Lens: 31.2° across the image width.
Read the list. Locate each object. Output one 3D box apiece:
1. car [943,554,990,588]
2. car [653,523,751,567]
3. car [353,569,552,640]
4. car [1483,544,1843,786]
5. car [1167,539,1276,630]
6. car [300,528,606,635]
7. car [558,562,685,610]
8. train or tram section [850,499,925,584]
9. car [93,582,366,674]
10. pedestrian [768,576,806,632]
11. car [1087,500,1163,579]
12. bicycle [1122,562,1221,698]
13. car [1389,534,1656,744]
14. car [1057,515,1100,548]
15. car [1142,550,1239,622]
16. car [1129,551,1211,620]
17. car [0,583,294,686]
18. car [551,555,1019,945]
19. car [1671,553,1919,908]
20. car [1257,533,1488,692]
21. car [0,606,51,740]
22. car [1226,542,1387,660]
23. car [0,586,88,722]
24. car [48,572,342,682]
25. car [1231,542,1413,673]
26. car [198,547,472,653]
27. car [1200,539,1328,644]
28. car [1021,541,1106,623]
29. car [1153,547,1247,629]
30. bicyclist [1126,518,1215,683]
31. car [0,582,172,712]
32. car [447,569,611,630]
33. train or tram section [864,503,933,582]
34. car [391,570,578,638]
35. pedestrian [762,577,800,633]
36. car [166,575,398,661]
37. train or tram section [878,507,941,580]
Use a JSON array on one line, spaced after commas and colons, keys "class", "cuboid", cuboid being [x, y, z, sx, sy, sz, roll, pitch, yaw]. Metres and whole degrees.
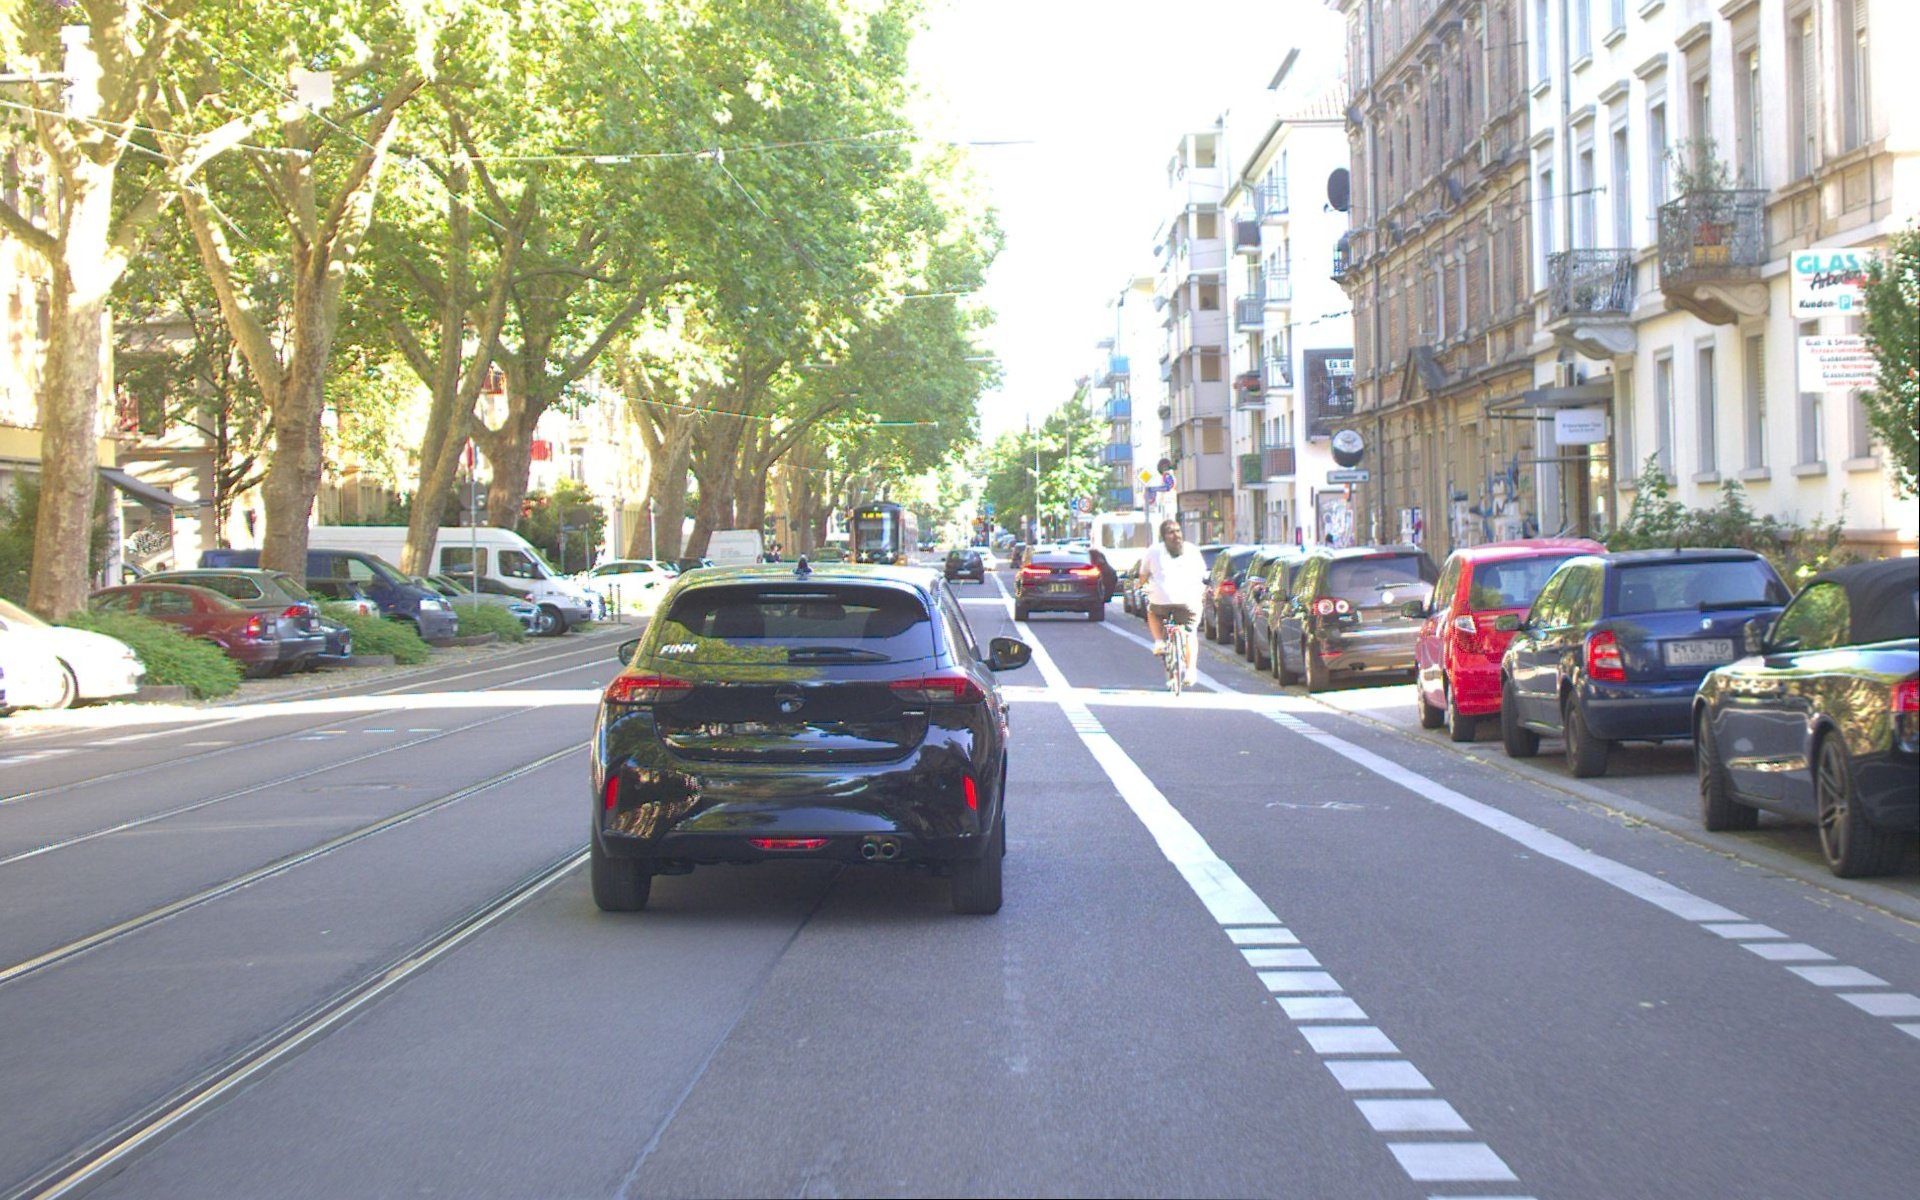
[{"class": "car", "cuboid": [0.282, -1.188, 141.338, 1.810, 1.334, 3.933, -1, 1, 2]}, {"class": "car", "cuboid": [-10.496, -2.235, 140.053, 3.919, 1.784, 1.677, 0, 0, -2]}, {"class": "car", "cuboid": [-10.735, 0.090, 72.873, 3.920, 1.493, 1.677, 0, 0, 2]}, {"class": "car", "cuboid": [4.724, 0.387, 23.601, 1.651, 1.451, 3.868, -3, 1, 1]}, {"class": "car", "cuboid": [4.813, -0.288, 63.512, 1.567, 1.512, 3.041, -5, 1, -2]}, {"class": "car", "cuboid": [-11.533, -0.435, 78.587, 6.628, 2.401, 2.458, 0, 0, 1]}, {"class": "car", "cuboid": [-10.772, -0.453, 109.552, 3.919, 1.493, 1.677, 0, 0, -2]}, {"class": "train or tram section", "cuboid": [-3.293, -2.668, 158.882, 2.735, 3.669, 12.716, -2, 1, 2]}, {"class": "car", "cuboid": [-11.446, 0.429, 54.066, 3.920, 1.417, 1.819, 0, 0, -1]}, {"class": "pedestrian", "cuboid": [-4.885, 0.125, 97.068, 0.680, 1.561, 0.767, -1, 1, 40]}, {"class": "car", "cuboid": [5.059, -1.869, 106.149, 2.076, 2.211, 4.933, -5, 1, 2]}, {"class": "bicycle", "cuboid": [2.269, 0.299, 37.132, 0.860, 1.402, 2.524, -1, 1, -1]}, {"class": "car", "cuboid": [4.532, 0.276, 28.120, 1.634, 1.541, 3.576, -3, 1, 2]}, {"class": "car", "cuboid": [5.387, -3.111, 156.612, 1.810, 1.333, 3.933, -5, 1, 2]}, {"class": "car", "cuboid": [4.859, -0.306, 72.870, 1.810, 1.333, 3.933, -5, 1, 2]}, {"class": "car", "cuboid": [4.848, -0.351, 79.668, 1.662, 1.415, 3.933, -5, 1, 2]}, {"class": "car", "cuboid": [-11.699, 0.484, 49.356, 3.920, 1.437, 1.749, 0, 0, 1]}, {"class": "car", "cuboid": [-0.677, 0.562, 15.139, 1.794, 1.436, 3.531, -1, 1, 0]}, {"class": "car", "cuboid": [4.646, 0.495, 16.270, 1.694, 1.388, 4.494, -3, 1, 2]}, {"class": "car", "cuboid": [4.672, 0.122, 39.455, 1.880, 1.580, 3.933, -5, 1, -3]}, {"class": "car", "cuboid": [-11.593, 0.732, 35.485, 3.920, 1.327, 1.847, 0, 0, 1]}, {"class": "car", "cuboid": [4.864, -0.011, 48.738, 1.880, 1.451, 4.025, -5, 1, 2]}, {"class": "car", "cuboid": [-11.853, 0.623, 38.008, 3.921, 1.448, 1.800, -1, 1, 1]}, {"class": "car", "cuboid": [-11.456, 0.386, 51.660, 3.994, 1.621, 1.879, 0, 0, 1]}, {"class": "car", "cuboid": [4.583, 0.071, 44.000, 1.798, 1.451, 3.768, -5, 1, 0]}, {"class": "car", "cuboid": [-11.507, -0.013, 63.489, 4.675, 1.917, 1.980, 0, 0, 2]}, {"class": "car", "cuboid": [4.814, -0.160, 54.862, 1.711, 1.478, 3.764, -5, 1, 2]}, {"class": "car", "cuboid": [2.325, -0.422, 77.205, 1.810, 1.736, 3.933, -2, 1, 2]}, {"class": "car", "cuboid": [4.771, -0.269, 68.568, 1.705, 1.451, 3.697, -5, 1, 4]}, {"class": "bicyclist", "cuboid": [2.268, -0.004, 37.164, 0.848, 1.734, 1.162, -1, 1, -1]}, {"class": "car", "cuboid": [-11.566, 0.574, 40.863, 3.920, 1.457, 1.805, -2, 1, 1]}, {"class": "car", "cuboid": [-10.663, -0.022, 85.211, 3.919, 1.493, 1.677, 0, 0, -2]}, {"class": "train or tram section", "cuboid": [-3.003, -2.859, 171.589, 2.735, 3.669, 12.716, -2, 1, 2]}, {"class": "car", "cuboid": [-10.510, 0.088, 76.192, 3.920, 1.493, 1.677, 0, 0, -1]}, {"class": "pedestrian", "cuboid": [-5.014, 0.137, 96.255, 0.680, 1.561, 0.767, -1, 1, 40]}, {"class": "car", "cuboid": [-11.921, 0.303, 60.571, 3.734, 1.493, 1.746, 0, 0, 1]}, {"class": "train or tram section", "cuboid": [-2.661, -3.028, 184.264, 2.735, 3.669, 12.716, -2, 1, 2]}]
